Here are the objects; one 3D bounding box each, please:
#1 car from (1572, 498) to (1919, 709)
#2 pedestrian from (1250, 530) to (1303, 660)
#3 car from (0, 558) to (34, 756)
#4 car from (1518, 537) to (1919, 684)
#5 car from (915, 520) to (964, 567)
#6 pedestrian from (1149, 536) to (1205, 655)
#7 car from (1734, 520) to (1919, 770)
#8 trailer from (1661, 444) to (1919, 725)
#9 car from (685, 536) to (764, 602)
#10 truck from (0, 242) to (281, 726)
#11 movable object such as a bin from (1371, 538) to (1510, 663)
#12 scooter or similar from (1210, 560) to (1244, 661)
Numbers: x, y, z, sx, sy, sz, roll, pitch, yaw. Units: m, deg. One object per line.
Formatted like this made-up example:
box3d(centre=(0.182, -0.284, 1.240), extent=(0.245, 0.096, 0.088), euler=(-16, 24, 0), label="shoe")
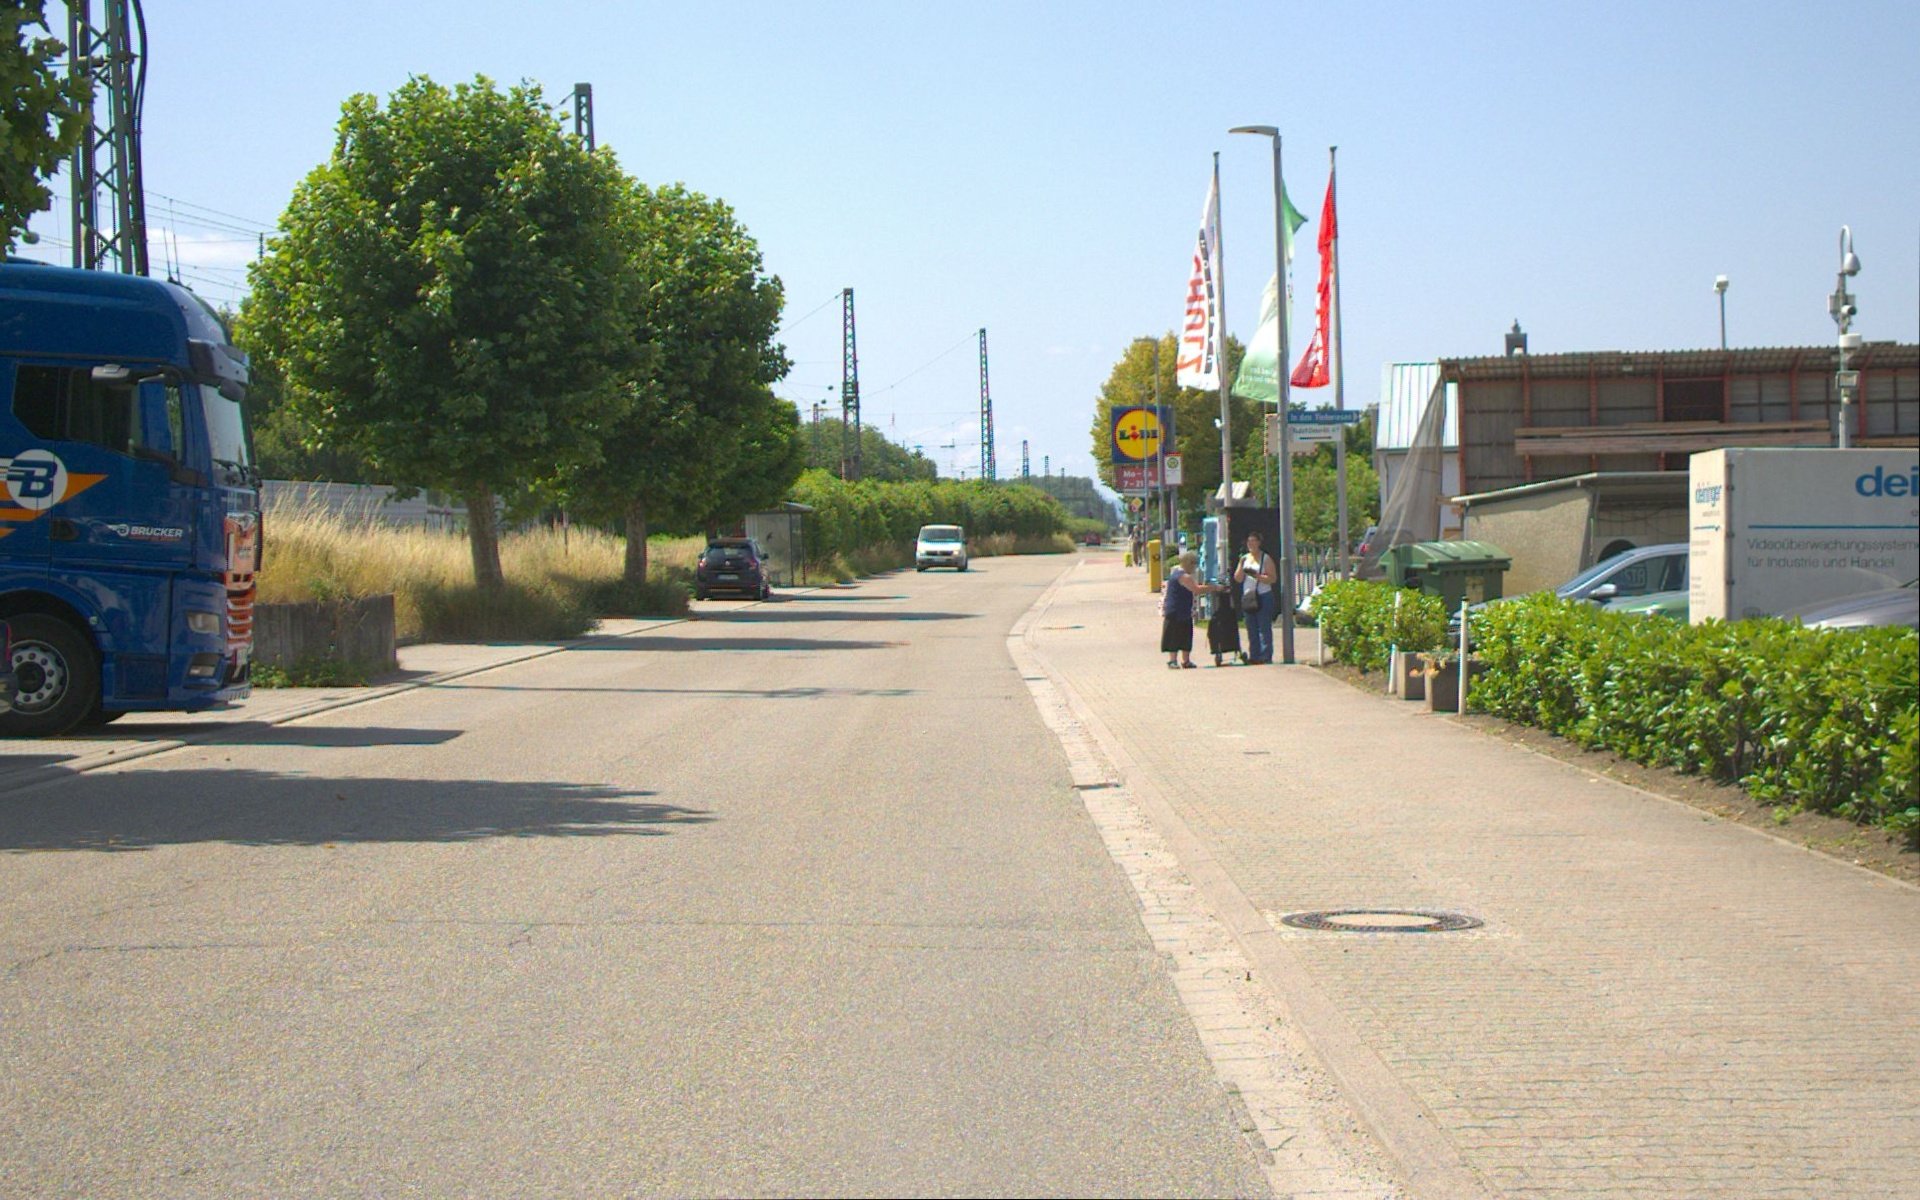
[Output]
box3d(centre=(7.438, 0.010, 28.867), extent=(4.212, 1.628, 1.801), euler=(-2, -1, -1), label="car")
box3d(centre=(3.785, -0.057, 41.187), extent=(0.535, 1.534, 0.511), euler=(-2, -1, 0), label="pedestrian")
box3d(centre=(-8.849, 0.423, 24.109), extent=(4.208, 1.390, 1.872), euler=(-1, 1, -1), label="car")
box3d(centre=(7.829, 0.087, 35.539), extent=(3.845, 1.450, 1.817), euler=(0, 1, 2), label="car")
box3d(centre=(-0.795, -2.278, 137.722), extent=(1.838, 1.851, 4.484), euler=(-1, 1, 1), label="car")
box3d(centre=(2.606, -0.052, 41.320), extent=(0.594, 1.400, 0.584), euler=(-2, -1, 0), label="pedestrian")
box3d(centre=(7.409, 0.242, 22.859), extent=(4.033, 1.569, 1.714), euler=(-2, -1, -5), label="car")
box3d(centre=(7.446, -0.137, 25.719), extent=(3.987, 2.007, 2.000), euler=(0, 1, 0), label="trailer")
box3d(centre=(-5.953, -0.802, 87.208), extent=(1.741, 1.590, 3.579), euler=(-1, 1, 0), label="car")
box3d(centre=(-9.184, -0.920, 28.410), extent=(6.613, 3.810, 2.664), euler=(0, 1, -1), label="truck")
box3d(centre=(5.732, -0.008, 41.045), extent=(1.263, 1.453, 1.049), euler=(0, 1, -37), label="movable object such as a bin")
box3d(centre=(3.208, 0.128, 41.318), extent=(0.334, 1.194, 0.398), euler=(-2, -1, 1), label="scooter or similar")
